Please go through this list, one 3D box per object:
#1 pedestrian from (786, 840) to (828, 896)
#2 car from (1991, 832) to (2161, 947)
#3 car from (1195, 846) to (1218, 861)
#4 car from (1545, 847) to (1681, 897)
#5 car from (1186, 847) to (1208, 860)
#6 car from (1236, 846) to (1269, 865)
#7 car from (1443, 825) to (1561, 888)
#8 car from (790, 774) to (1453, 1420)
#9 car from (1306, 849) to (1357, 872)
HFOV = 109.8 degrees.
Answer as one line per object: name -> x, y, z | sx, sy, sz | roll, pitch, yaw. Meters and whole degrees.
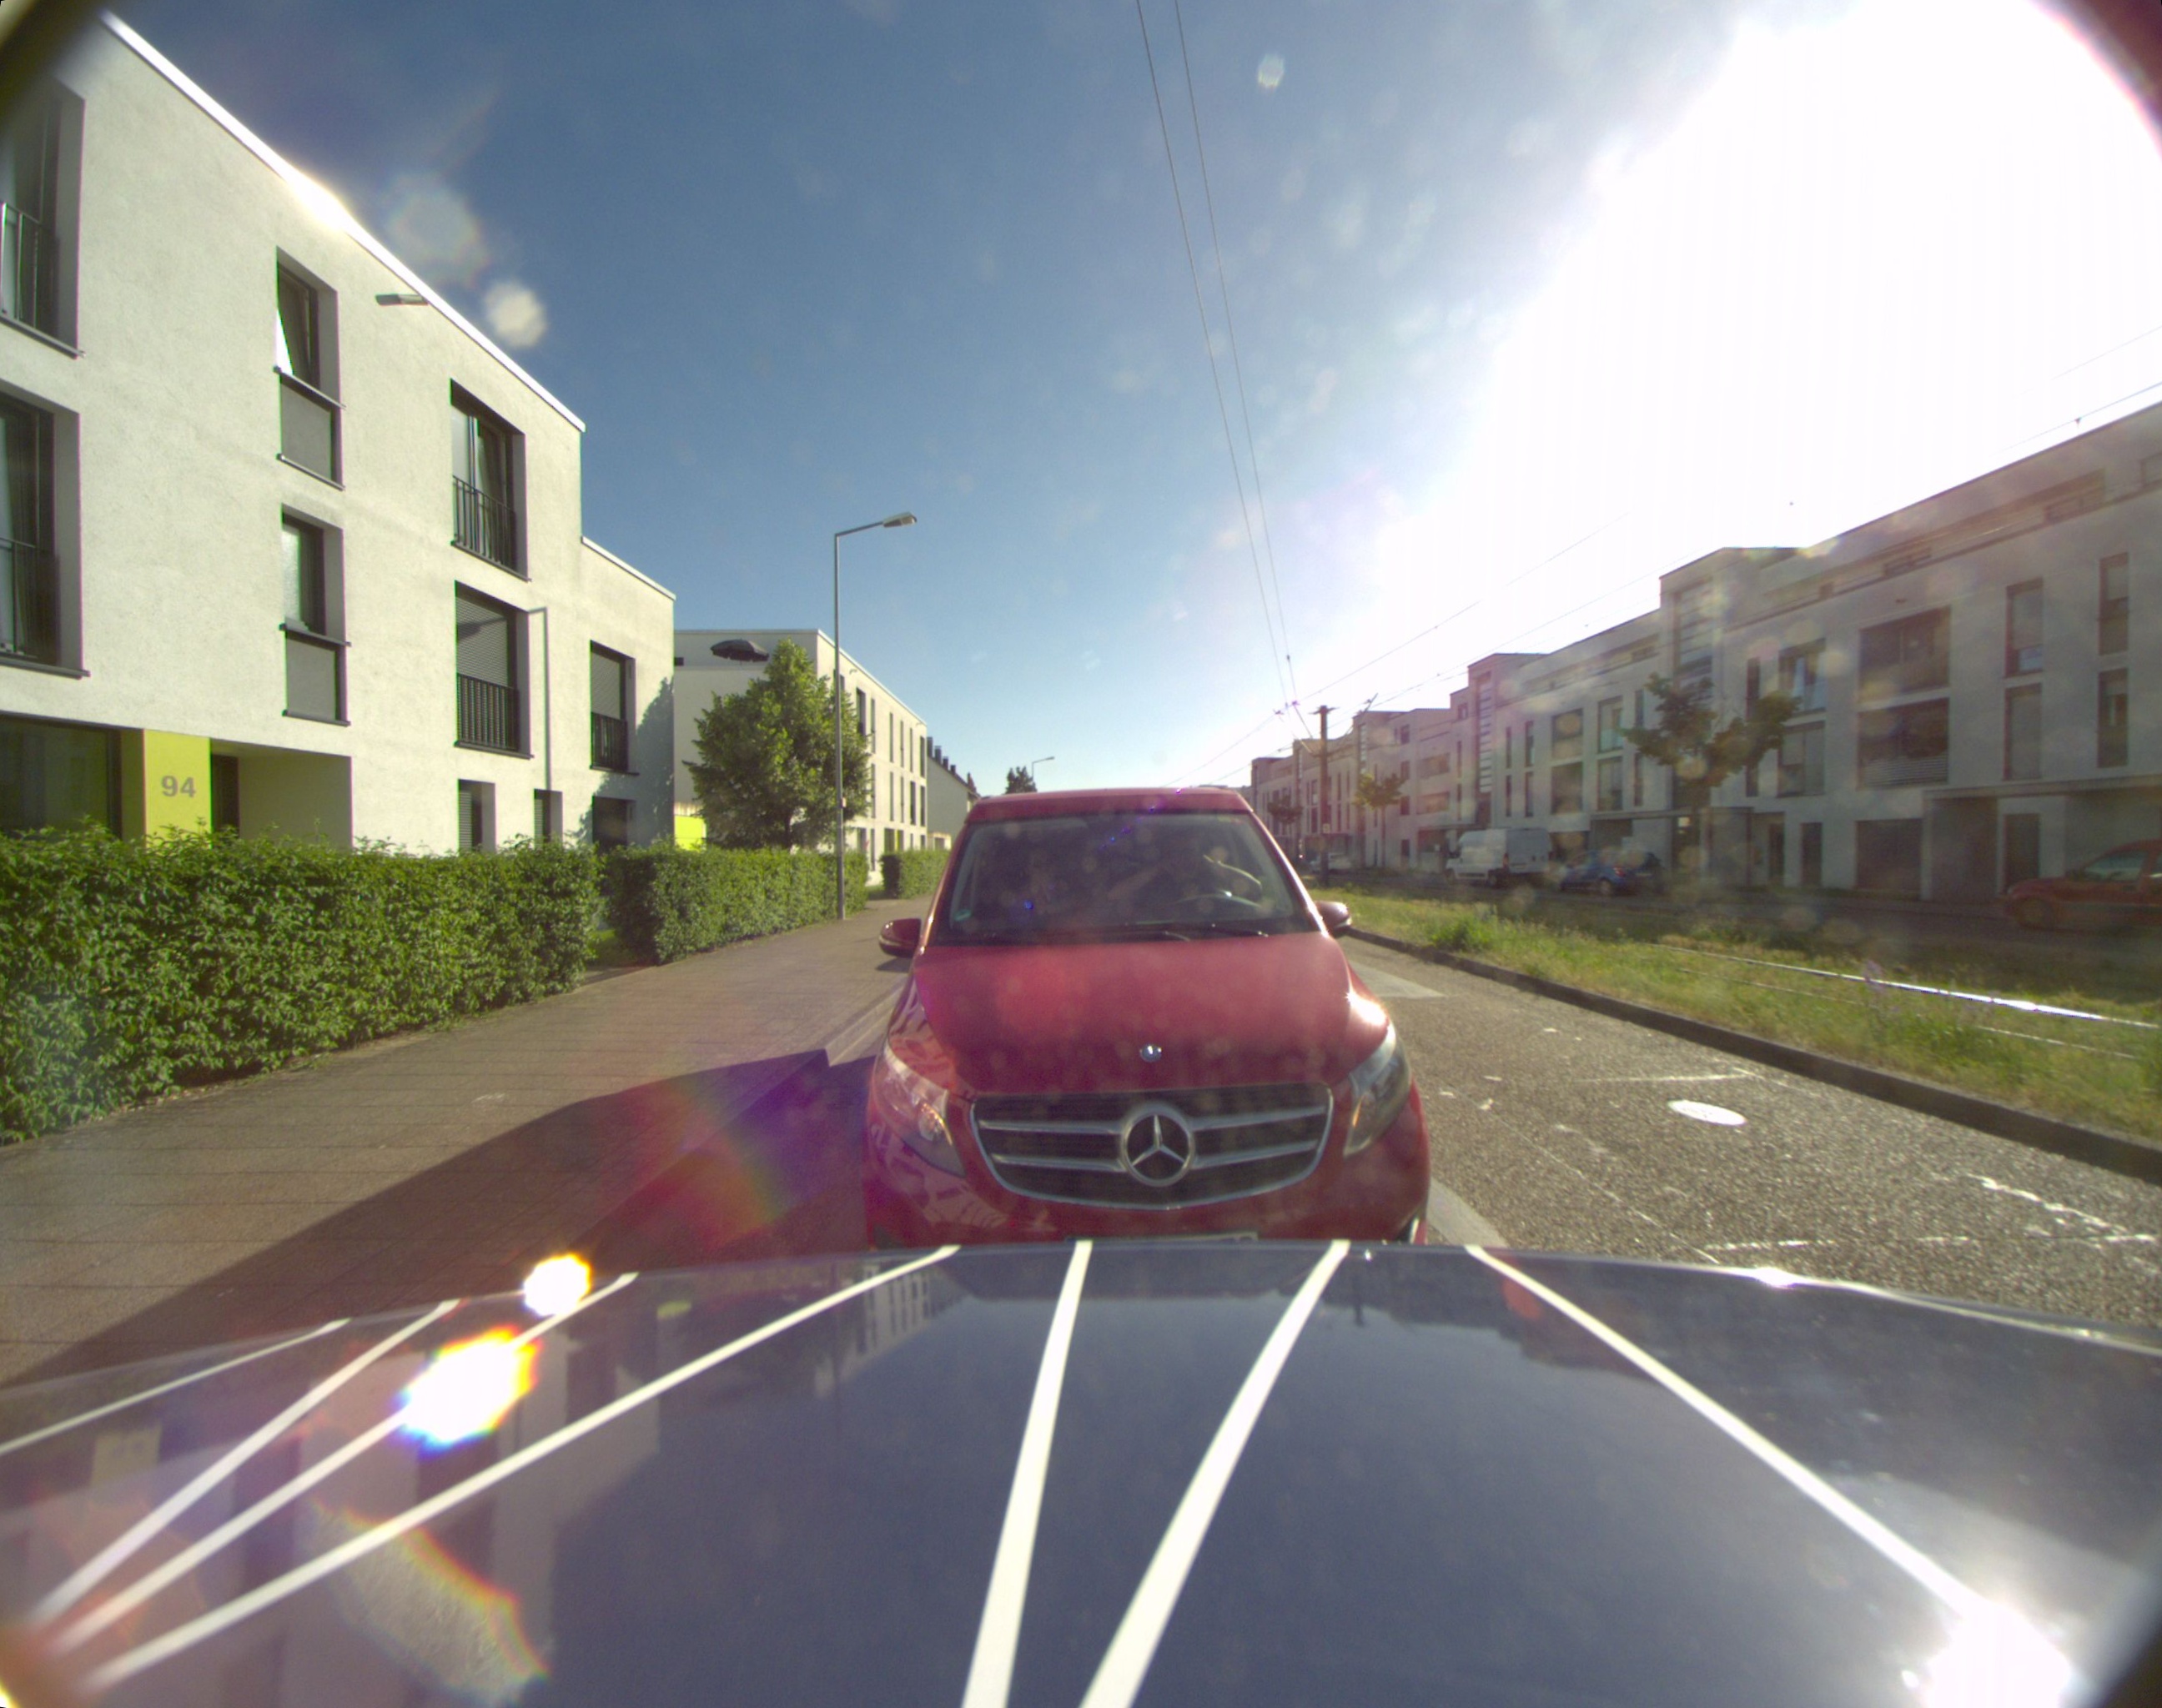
pedestrian -> -7.849, 0.391, 21.796 | 0.854, 1.585, 0.913 | 0, 1, 2
car -> 18.619, 0.568, 12.794 | 1.998, 1.817, 3.895 | -2, 1, 3
car -> 15.480, -0.054, 93.891 | 1.923, 1.671, 4.282 | -2, 1, -4
car -> 18.380, 0.565, 26.485 | 1.998, 1.536, 3.835 | -2, 1, 0
car -> 15.194, -0.077, 99.643 | 1.923, 1.671, 4.282 | -2, 1, -4
car -> 16.724, 0.118, 74.339 | 1.923, 1.671, 4.282 | -2, 1, -4
car -> 18.172, 0.062, 33.156 | 2.225, 2.458, 5.195 | -2, 1, 0
car -> 0.154, 0.699, 4.481 | 1.874, 1.843, 4.506 | -2, 1, 1
car -> 17.638, 0.401, 53.725 | 1.923, 1.497, 4.282 | -2, 1, -4
